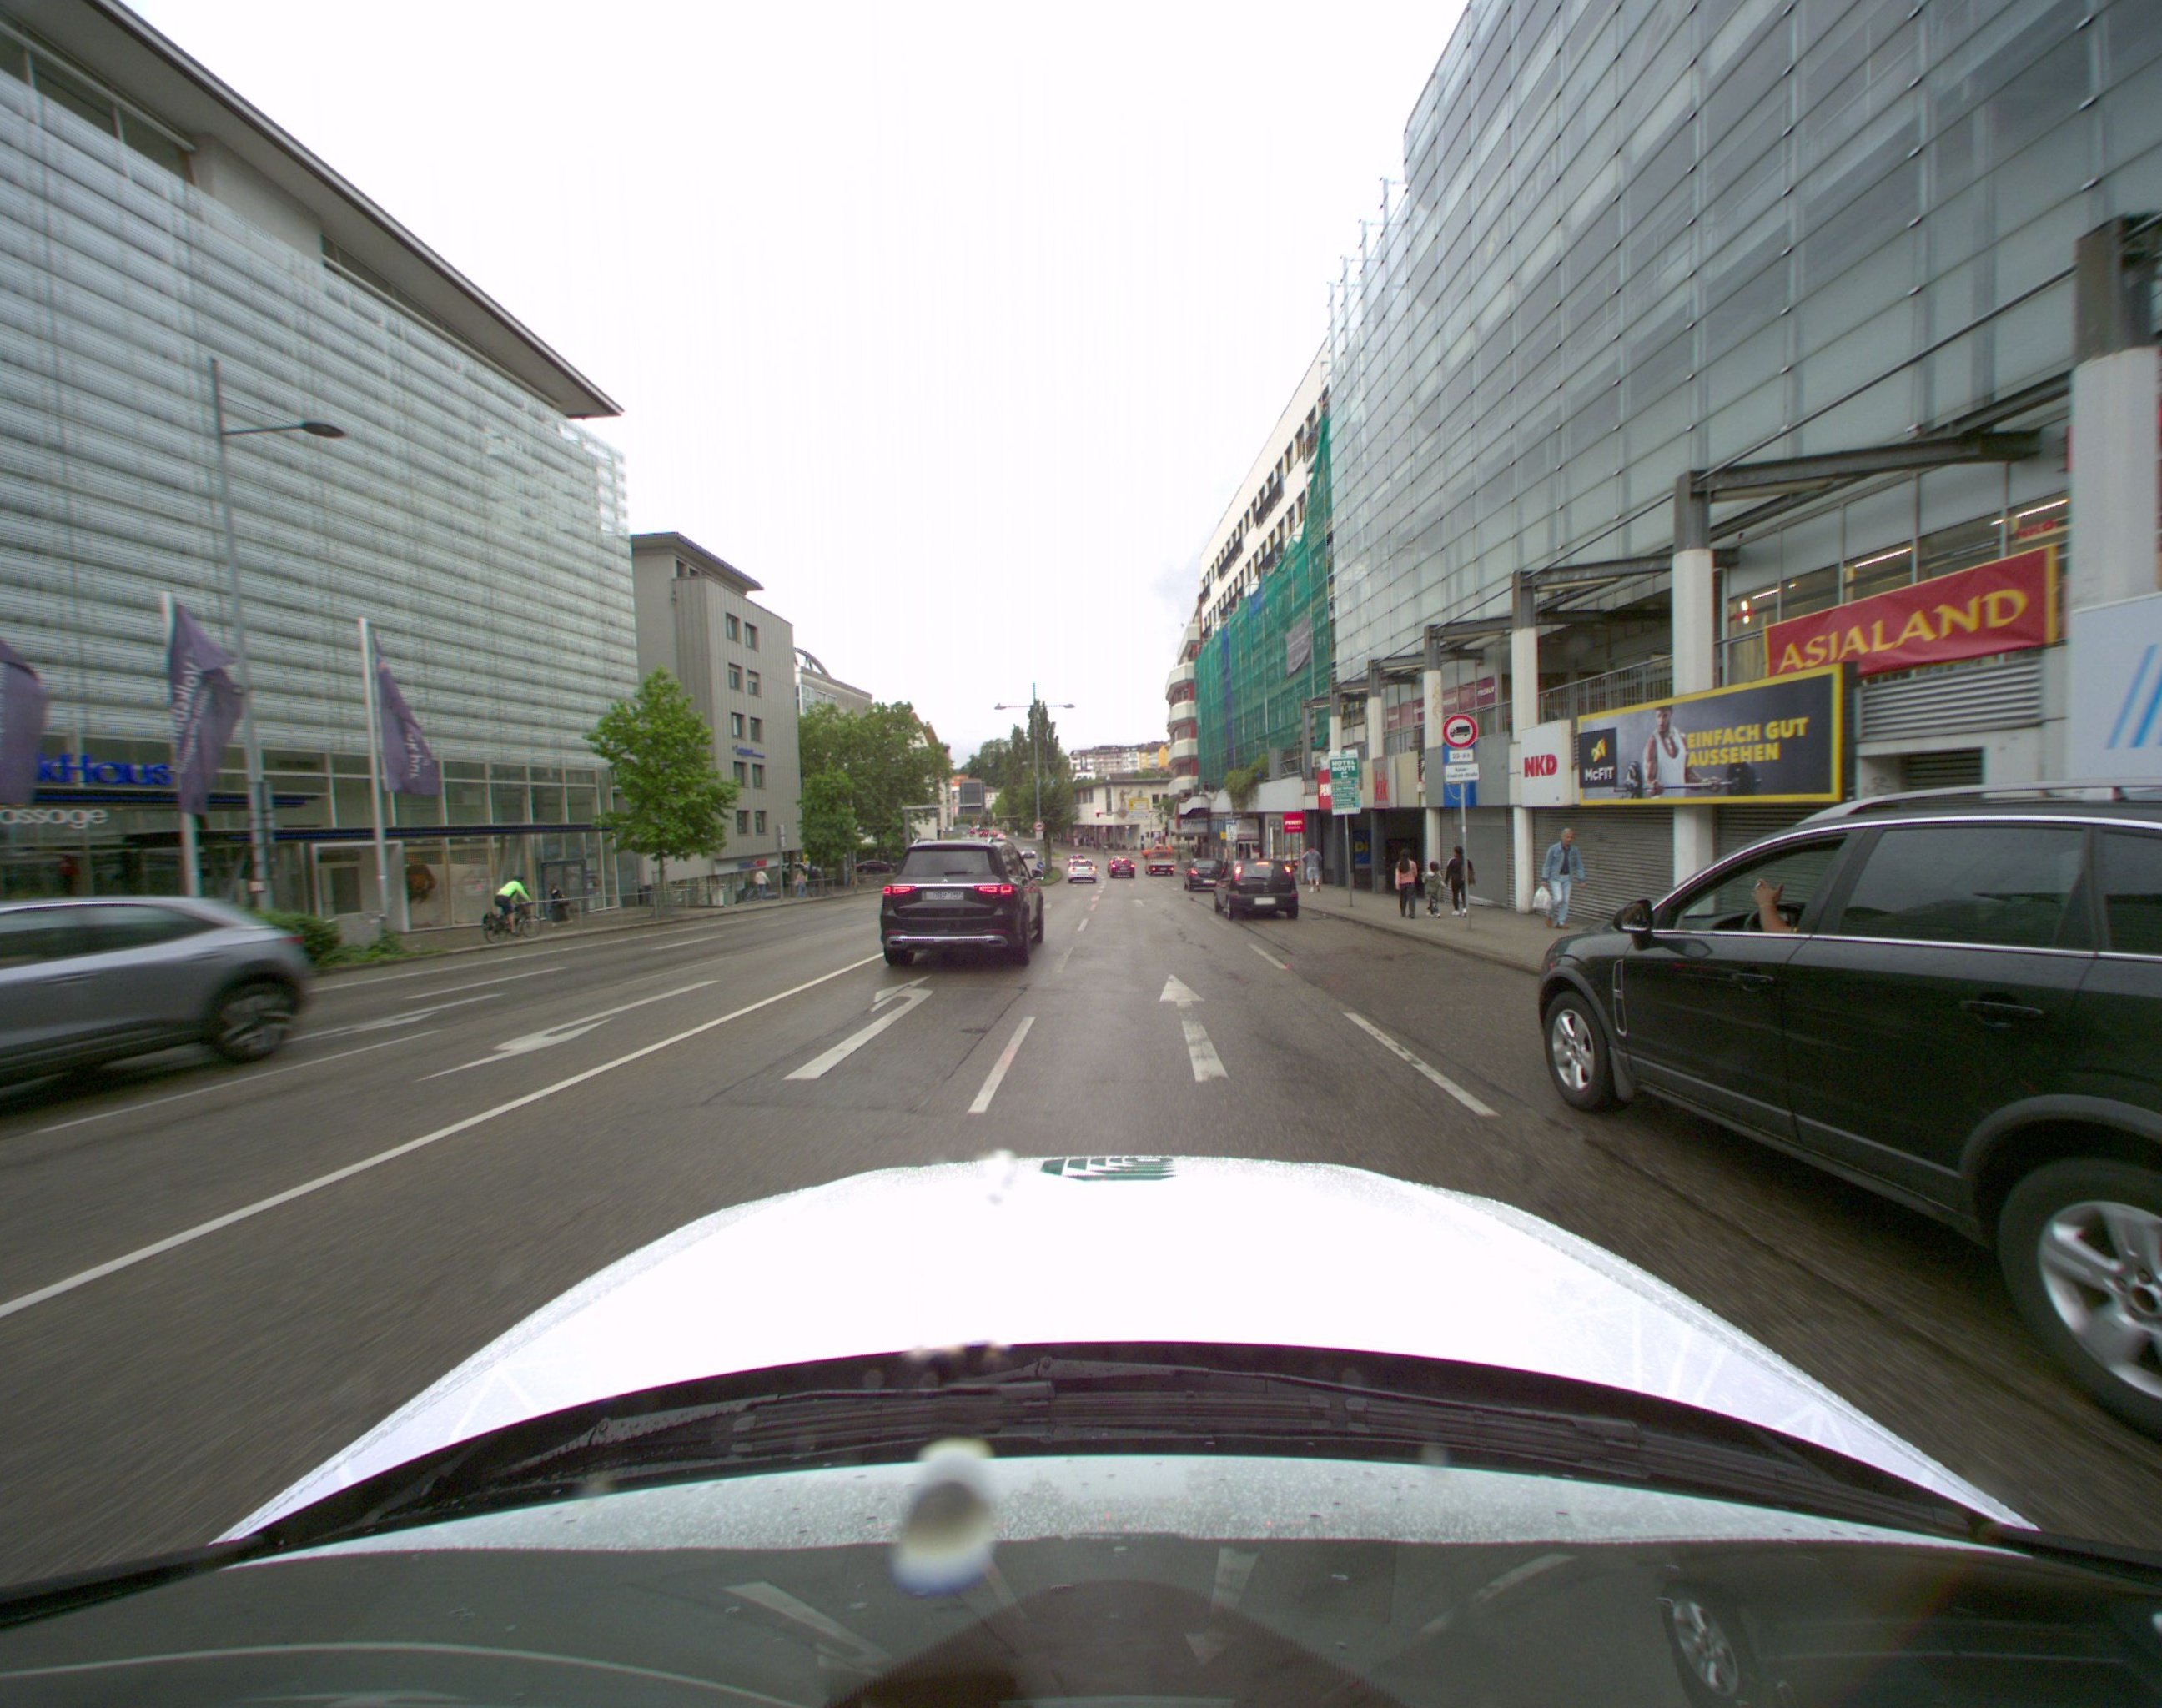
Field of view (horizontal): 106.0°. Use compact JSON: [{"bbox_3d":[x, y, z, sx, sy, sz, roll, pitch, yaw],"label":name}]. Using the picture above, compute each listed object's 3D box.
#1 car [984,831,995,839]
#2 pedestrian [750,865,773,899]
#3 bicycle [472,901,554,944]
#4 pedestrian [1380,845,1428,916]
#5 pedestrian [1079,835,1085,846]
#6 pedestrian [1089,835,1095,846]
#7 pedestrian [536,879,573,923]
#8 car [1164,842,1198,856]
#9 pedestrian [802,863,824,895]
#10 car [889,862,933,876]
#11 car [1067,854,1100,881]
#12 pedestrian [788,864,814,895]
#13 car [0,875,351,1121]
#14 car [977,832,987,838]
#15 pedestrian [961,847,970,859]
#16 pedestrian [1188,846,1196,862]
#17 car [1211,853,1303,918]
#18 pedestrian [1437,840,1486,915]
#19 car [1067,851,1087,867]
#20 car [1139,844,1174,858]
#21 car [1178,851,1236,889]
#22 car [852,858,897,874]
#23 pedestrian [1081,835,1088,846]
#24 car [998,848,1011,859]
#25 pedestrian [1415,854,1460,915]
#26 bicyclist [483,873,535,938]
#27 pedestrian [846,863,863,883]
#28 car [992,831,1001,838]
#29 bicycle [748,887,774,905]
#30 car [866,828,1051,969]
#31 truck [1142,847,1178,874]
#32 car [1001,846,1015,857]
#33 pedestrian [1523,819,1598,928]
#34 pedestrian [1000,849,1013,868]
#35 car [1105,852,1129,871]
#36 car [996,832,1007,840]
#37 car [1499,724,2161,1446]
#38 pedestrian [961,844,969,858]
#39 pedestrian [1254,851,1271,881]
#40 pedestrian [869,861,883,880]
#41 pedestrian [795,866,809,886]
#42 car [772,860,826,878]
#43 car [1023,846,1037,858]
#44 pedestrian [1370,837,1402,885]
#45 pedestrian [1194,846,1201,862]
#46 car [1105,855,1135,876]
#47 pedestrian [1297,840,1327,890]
[{"bbox_3d":[-24.182,-5.066,215.680,2.002,2.013,3.971,-2,0,-22],"label":"car"},{"bbox_3d":[-16.903,1.482,43.081,0.995,1.722,1.032,-3,0,-17],"label":"pedestrian"},{"bbox_3d":[-16.860,2.021,24.229,0.674,1.099,2.077,-3,-1,11],"label":"bicycle"},{"bbox_3d":[6.843,0.550,17.288,0.741,1.437,0.599,-4,0,9],"label":"pedestrian"},{"bbox_3d":[0.129,-2.284,137.853,0.799,1.802,0.913,-3,0,-14],"label":"pedestrian"},{"bbox_3d":[1.919,-2.342,137.018,0.703,1.802,0.934,-3,0,-14],"label":"pedestrian"},{"bbox_3d":[-18.466,1.632,28.575,0.648,1.456,0.847,-3,0,8],"label":"pedestrian"},{"bbox_3d":[12.424,-0.629,100.945,3.822,1.616,1.766,-2,0,-15],"label":"car"},{"bbox_3d":[-14.744,1.367,44.876,0.814,1.713,1.310,-3,0,-6],"label":"pedestrian"},{"bbox_3d":[-18.161,1.575,87.129,4.594,1.482,1.934,0,0,-12],"label":"car"},{"bbox_3d":[0.183,0.794,51.572,1.943,1.574,4.001,-1,0,1],"label":"car"},{"bbox_3d":[-16.645,1.494,48.378,0.968,1.722,1.092,-3,0,8],"label":"pedestrian"},{"bbox_3d":[-8.105,1.057,5.841,1.834,1.552,4.097,-4,0,2],"label":"car"},{"bbox_3d":[-25.769,-4.864,211.238,1.756,1.554,3.543,-2,0,-22],"label":"car"},{"bbox_3d":[-15.831,-0.082,111.691,0.931,1.608,0.557,-3,0,-40],"label":"pedestrian"},{"bbox_3d":[12.023,0.002,88.219,0.575,1.699,0.648,-3,0,-9],"label":"pedestrian"},{"bbox_3d":[4.269,0.721,20.277,1.709,1.420,3.774,-2,0,4],"label":"car"},{"bbox_3d":[7.770,0.468,16.669,0.766,1.467,0.707,-3,0,19],"label":"pedestrian"},{"bbox_3d":[-0.428,0.446,79.106,1.789,1.468,3.997,-1,0,-2],"label":"car"},{"bbox_3d":[9.310,-0.381,100.397,3.993,1.616,1.770,-2,0,-8],"label":"car"},{"bbox_3d":[5.560,0.661,36.379,1.944,1.574,3.999,-1,0,-1],"label":"car"},{"bbox_3d":[-22.513,1.321,88.970,4.689,1.643,1.778,0,0,-14],"label":"car"},{"bbox_3d":[0.548,-2.305,136.603,0.847,1.802,1.051,-3,0,-14],"label":"pedestrian"},{"bbox_3d":[-10.234,-0.084,108.576,1.704,1.451,3.853,-2,0,-6],"label":"car"},{"bbox_3d":[7.412,0.627,16.944,0.686,1.207,0.555,-3,0,9],"label":"pedestrian"},{"bbox_3d":[-16.901,1.503,24.074,0.664,1.830,0.993,-3,-1,10],"label":"bicyclist"},{"bbox_3d":[-20.646,1.691,74.137,0.939,1.722,1.022,-3,2,35],"label":"pedestrian"},{"bbox_3d":[-21.603,-4.902,208.704,1.834,1.588,3.856,-2,0,-13],"label":"car"},{"bbox_3d":[-21.484,2.829,54.784,0.609,1.087,2.671,-2,0,1],"label":"bicycle"},{"bbox_3d":[-1.676,0.569,12.967,2.080,1.817,4.794,0,0,2],"label":"car"},{"bbox_3d":[6.451,0.480,66.782,2.178,2.082,5.598,-2,0,-2],"label":"truck"},{"bbox_3d":[-10.471,-0.344,116.227,1.776,1.549,3.989,-2,0,-8],"label":"car"},{"bbox_3d":[7.923,0.313,13.476,0.830,1.722,0.619,-3,0,9],"label":"pedestrian"},{"bbox_3d":[-7.551,0.486,82.457,1.057,1.882,0.840,-3,0,7],"label":"pedestrian"},{"bbox_3d":[3.109,0.653,71.264,1.756,1.542,3.997,-1,1,-2],"label":"car"},{"bbox_3d":[-17.870,-4.019,183.668,1.995,1.596,3.984,-2,0,-12],"label":"car"},{"bbox_3d":[3.688,0.516,3.355,1.899,1.785,4.306,-2,1,4],"label":"car"},{"bbox_3d":[-16.123,-0.404,113.238,0.910,1.802,0.620,-3,0,-40],"label":"pedestrian"},{"bbox_3d":[10.269,0.671,45.966,0.635,1.650,0.566,-4,-2,43],"label":"pedestrian"},{"bbox_3d":[-19.214,1.553,76.248,0.940,1.722,0.764,-3,0,25],"label":"pedestrian"},{"bbox_3d":[-25.316,1.967,73.914,0.752,1.722,0.955,-3,0,14],"label":"pedestrian"},{"bbox_3d":[-29.481,1.546,85.142,5.074,1.759,1.992,0,0,-12],"label":"car"},{"bbox_3d":[-6.850,-0.236,109.536,1.816,1.549,3.995,-2,0,-4],"label":"car"},{"bbox_3d":[11.369,0.254,30.369,0.672,1.715,0.811,-3,0,-24],"label":"pedestrian"},{"bbox_3d":[12.633,-0.049,88.326,0.576,1.699,0.648,-3,0,-13],"label":"pedestrian"},{"bbox_3d":[2.915,0.830,61.591,1.808,1.441,3.996,0,1,-3],"label":"car"},{"bbox_3d":[8.115,0.379,28.616,0.830,1.722,0.831,-3,0,9],"label":"pedestrian"}]
